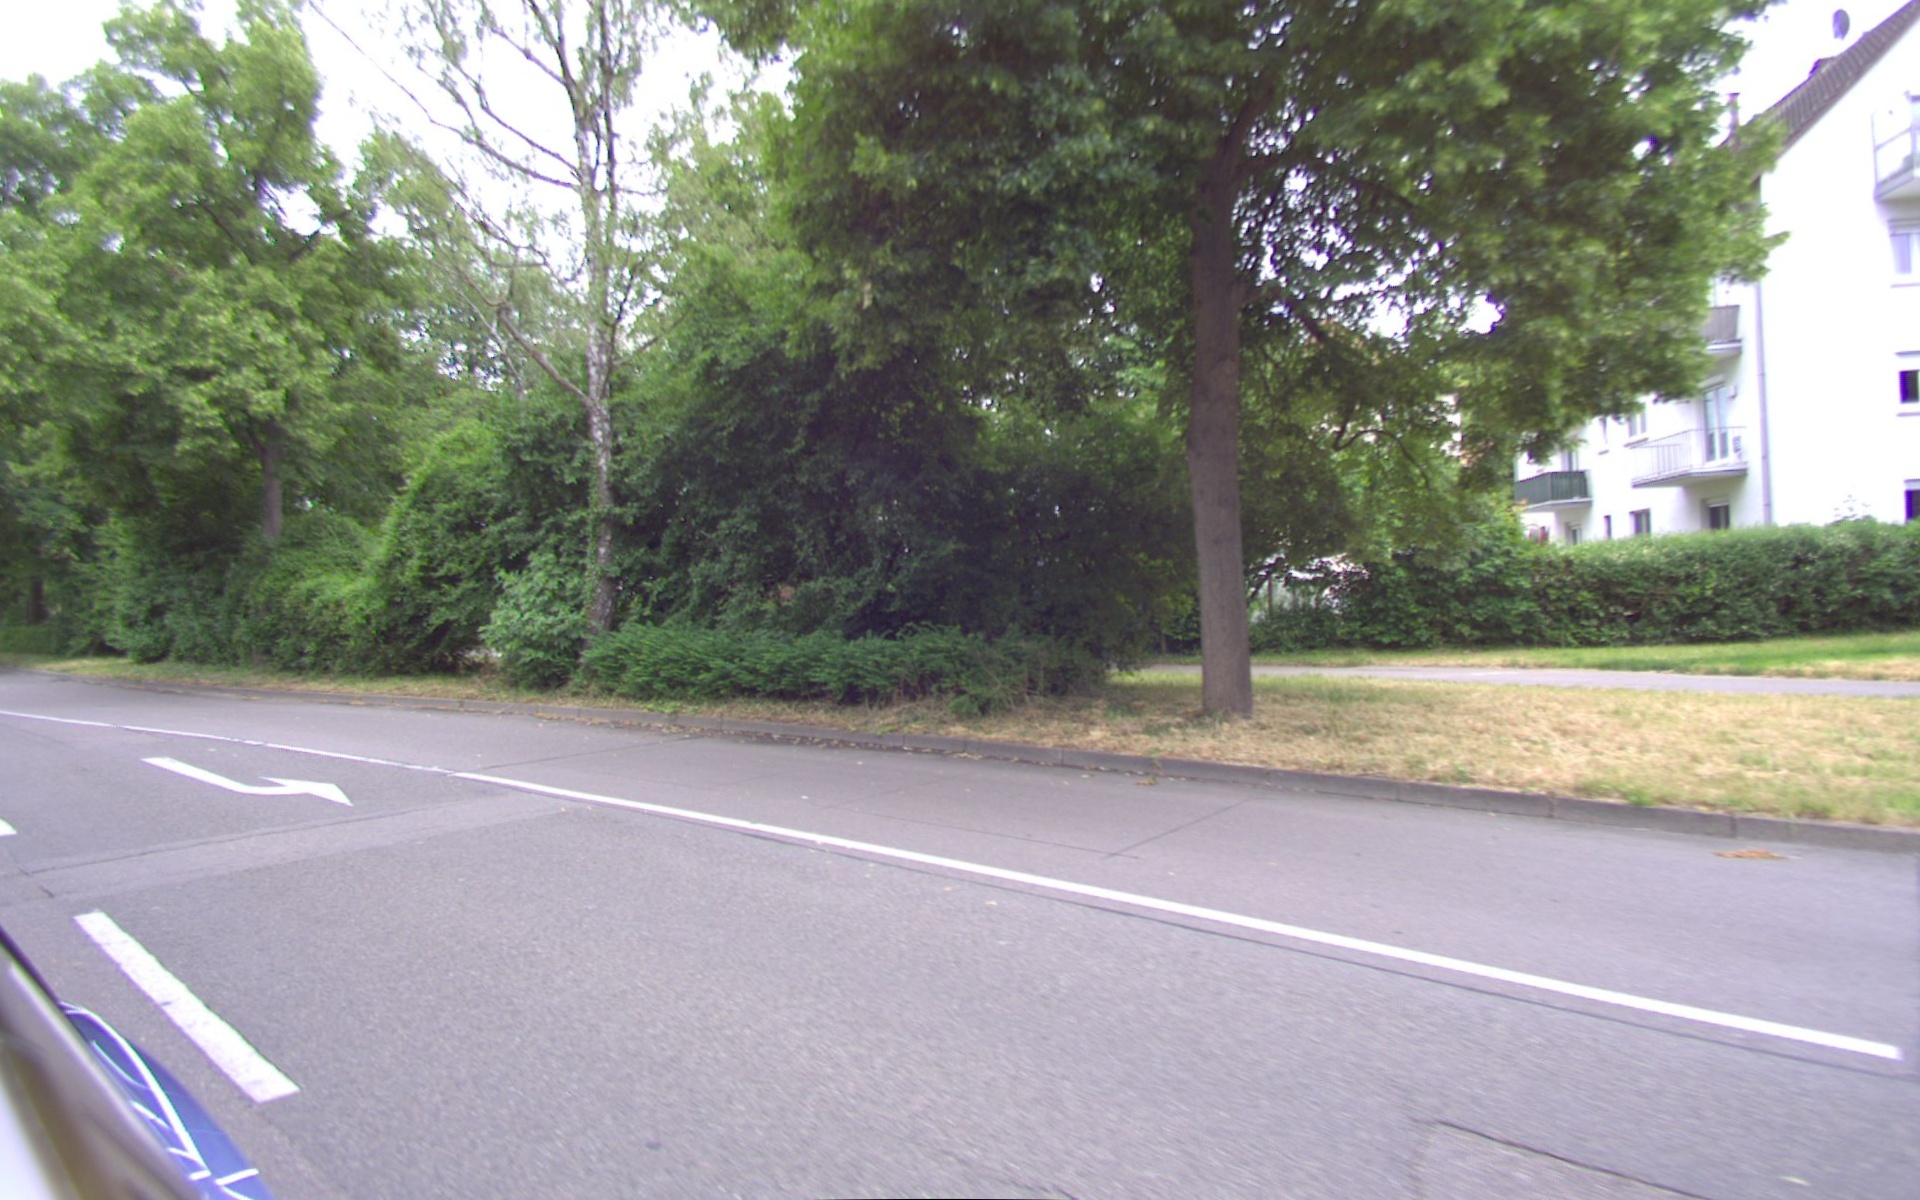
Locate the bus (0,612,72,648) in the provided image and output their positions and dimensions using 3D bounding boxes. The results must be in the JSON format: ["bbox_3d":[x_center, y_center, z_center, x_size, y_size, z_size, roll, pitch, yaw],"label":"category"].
[{"bbox_3d":[-85.522,2.764,91.729,3.007,3.031,8.441,-4,1,-5],"label":"bus"}]
